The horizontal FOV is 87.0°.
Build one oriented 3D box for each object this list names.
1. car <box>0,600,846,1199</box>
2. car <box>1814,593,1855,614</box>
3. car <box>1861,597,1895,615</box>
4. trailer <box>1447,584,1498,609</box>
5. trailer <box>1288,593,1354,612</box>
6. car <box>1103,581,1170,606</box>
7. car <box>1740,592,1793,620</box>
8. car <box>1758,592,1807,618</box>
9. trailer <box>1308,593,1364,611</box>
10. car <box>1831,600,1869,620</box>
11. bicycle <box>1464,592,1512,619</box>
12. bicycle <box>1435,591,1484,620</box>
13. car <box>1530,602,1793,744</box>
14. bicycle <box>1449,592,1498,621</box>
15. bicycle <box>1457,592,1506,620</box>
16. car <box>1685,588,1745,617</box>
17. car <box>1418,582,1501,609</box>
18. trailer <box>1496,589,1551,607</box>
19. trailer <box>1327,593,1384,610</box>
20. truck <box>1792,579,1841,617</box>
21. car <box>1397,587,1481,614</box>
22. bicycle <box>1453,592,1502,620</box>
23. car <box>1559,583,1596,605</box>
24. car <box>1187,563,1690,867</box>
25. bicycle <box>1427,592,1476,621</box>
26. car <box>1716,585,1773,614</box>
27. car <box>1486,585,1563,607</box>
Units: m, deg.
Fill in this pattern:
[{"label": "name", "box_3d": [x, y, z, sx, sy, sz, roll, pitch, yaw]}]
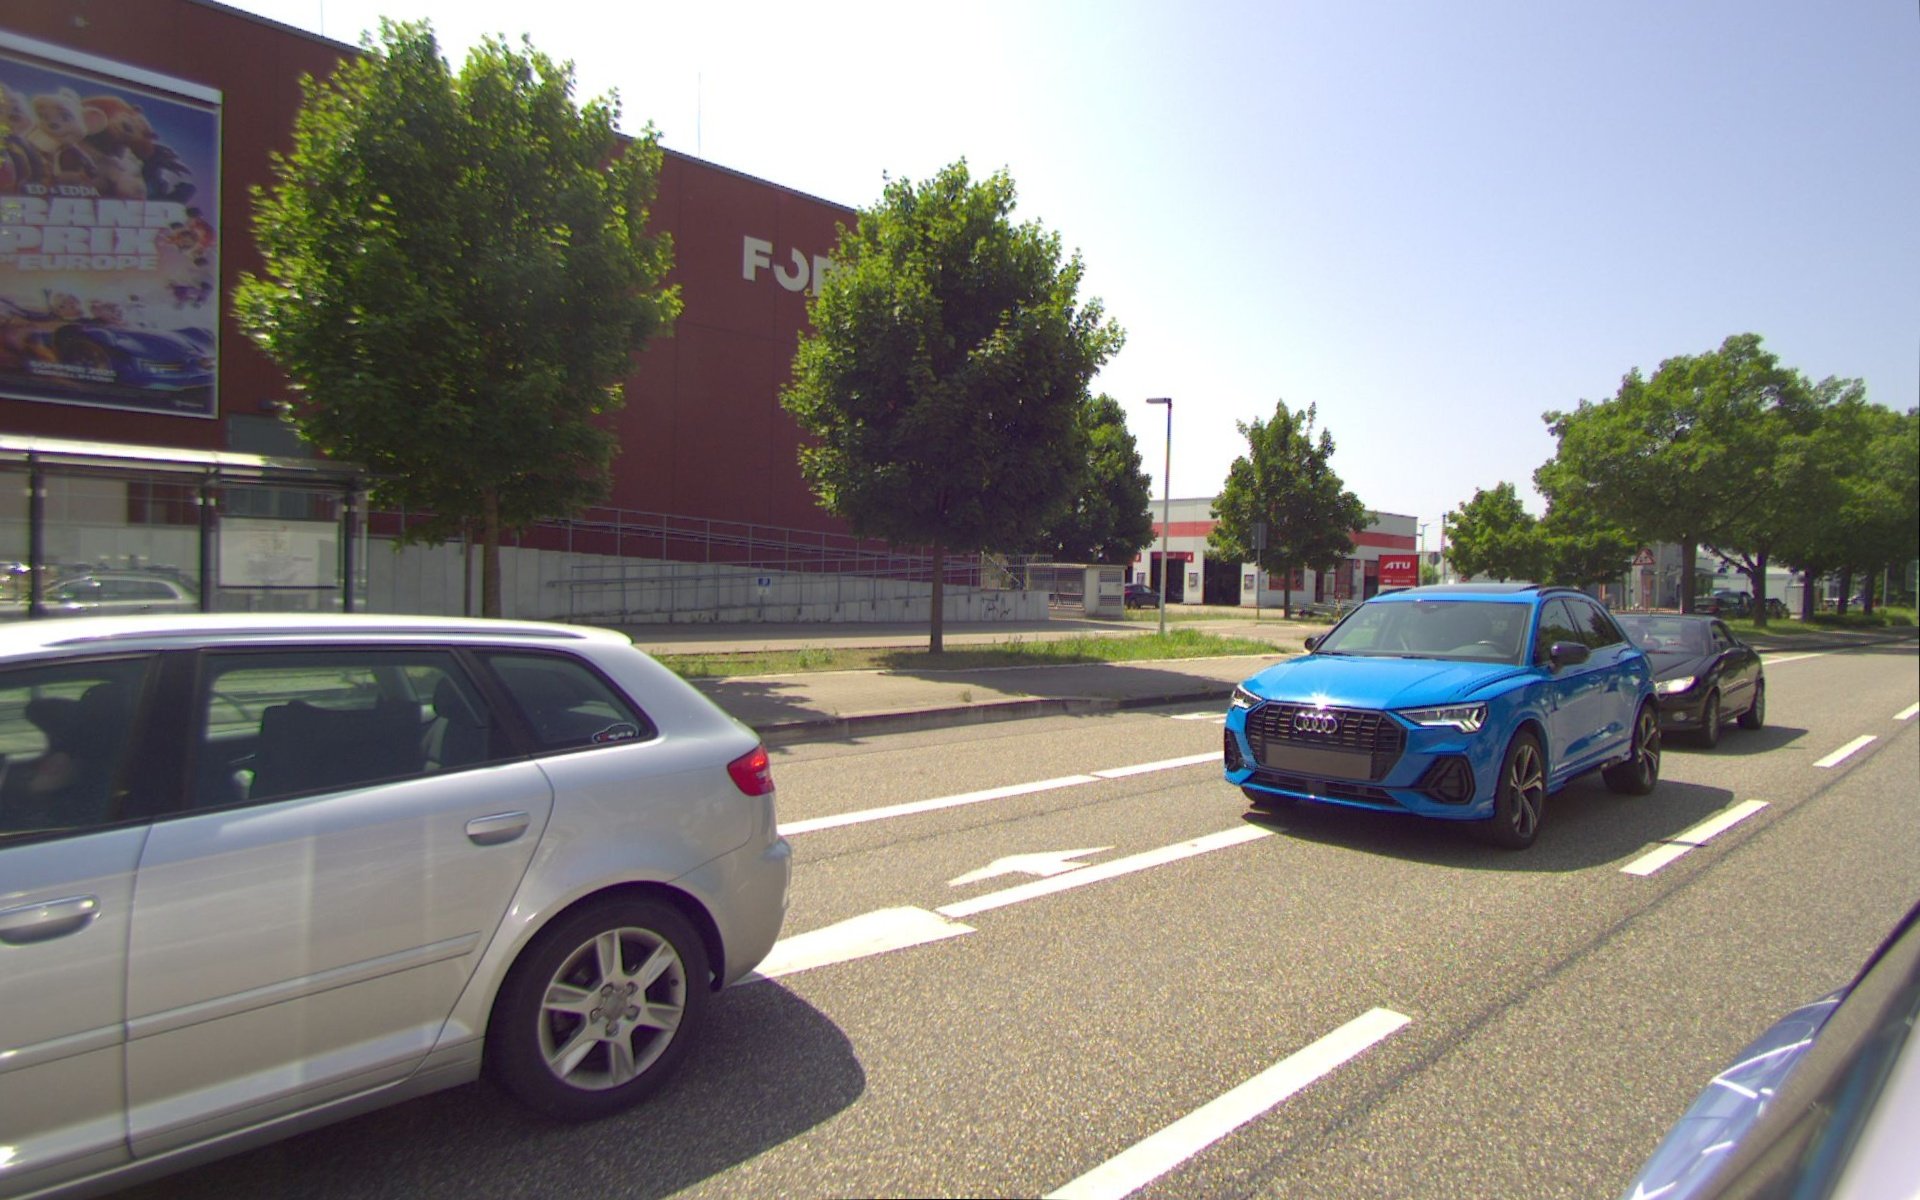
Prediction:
[{"label": "car", "box_3d": [-2.430, 0.693, 2.661, 4.022, 1.379, 1.714, 0, 0, -43]}, {"label": "car", "box_3d": [64.685, 0.243, 74.850, 3.930, 1.485, 1.719, 0, 2, -41]}, {"label": "car", "box_3d": [79.954, 0.502, 88.124, 3.930, 1.485, 1.719, 0, 2, -41]}, {"label": "trailer", "box_3d": [33.038, -0.239, 65.274, 1.391, 1.546, 2.638, 1, 2, -43]}, {"label": "trailer", "box_3d": [16.337, 0.118, 45.850, 1.423, 0.771, 2.467, 0, 2, -39]}, {"label": "car", "box_3d": [10.434, -0.370, 59.643, 4.074, 1.390, 1.716, 0, 2, -42]}, {"label": "car", "box_3d": [47.276, 0.336, 59.318, 3.930, 1.539, 1.719, 0, 2, -41]}, {"label": "car", "box_3d": [51.652, 0.307, 63.535, 3.930, 1.532, 1.719, 0, 2, -41]}, {"label": "trailer", "box_3d": [17.491, 0.093, 47.095, 1.244, 0.771, 2.137, 0, 2, -39]}, {"label": "car", "box_3d": [69.857, 0.795, 79.450, 3.930, 1.485, 1.719, 0, 2, -41]}, {"label": "bicycle", "box_3d": [23.323, 0.241, 44.710, 1.779, 1.138, 0.506, 3, 1, 43]}, {"label": "bicycle", "box_3d": [21.139, 0.237, 42.826, 1.779, 1.138, 0.506, 3, 1, 43]}, {"label": "car", "box_3d": [8.169, 0.709, 11.650, 3.931, 1.361, 1.640, 0, -1, -42]}, {"label": "bicycle", "box_3d": [21.861, 0.272, 43.109, 1.779, 1.138, 0.506, 3, 1, 43]}, {"label": "bicycle", "box_3d": [22.737, 0.250, 44.139, 1.779, 1.138, 0.506, 3, 1, 43]}, {"label": "car", "box_3d": [38.814, 0.111, 51.983, 3.930, 1.388, 1.641, 0, 2, -41]}, {"label": "car", "box_3d": [29.115, -0.295, 59.069, 1.718, 1.419, 3.991, 0, 2, -44]}, {"label": "trailer", "box_3d": [35.173, -0.131, 63.229, 1.552, 1.065, 2.638, 0, 2, -43]}, {"label": "trailer", "box_3d": [18.828, 0.067, 48.252, 1.369, 0.771, 2.137, 0, 2, -39]}, {"label": "truck", "box_3d": [60.271, -0.129, 71.200, 3.929, 2.599, 1.904, 0, 1, -40]}, {"label": "car", "box_3d": [27.323, 0.003, 57.786, 1.718, 1.419, 3.992, 0, 2, -43]}, {"label": "bicycle", "box_3d": [22.270, 0.231, 43.600, 1.779, 1.138, 0.506, 3, 1, 43]}, {"label": "car", "box_3d": [48.304, -0.461, 79.099, 1.753, 1.616, 3.940, 2, 2, 42]}, {"label": "car", "box_3d": [3.734, 0.592, 7.508, 4.324, 1.616, 1.840, 0, 1, -42]}, {"label": "bicycle", "box_3d": [20.625, 0.250, 42.480, 1.779, 1.138, 0.506, 3, 1, 43]}, {"label": "car", "box_3d": [43.438, -0.031, 55.996, 3.930, 1.485, 1.719, 0, 2, -41]}, {"label": "car", "box_3d": [36.371, -0.281, 65.276, 1.662, 1.317, 3.991, 0, 2, -44]}]
